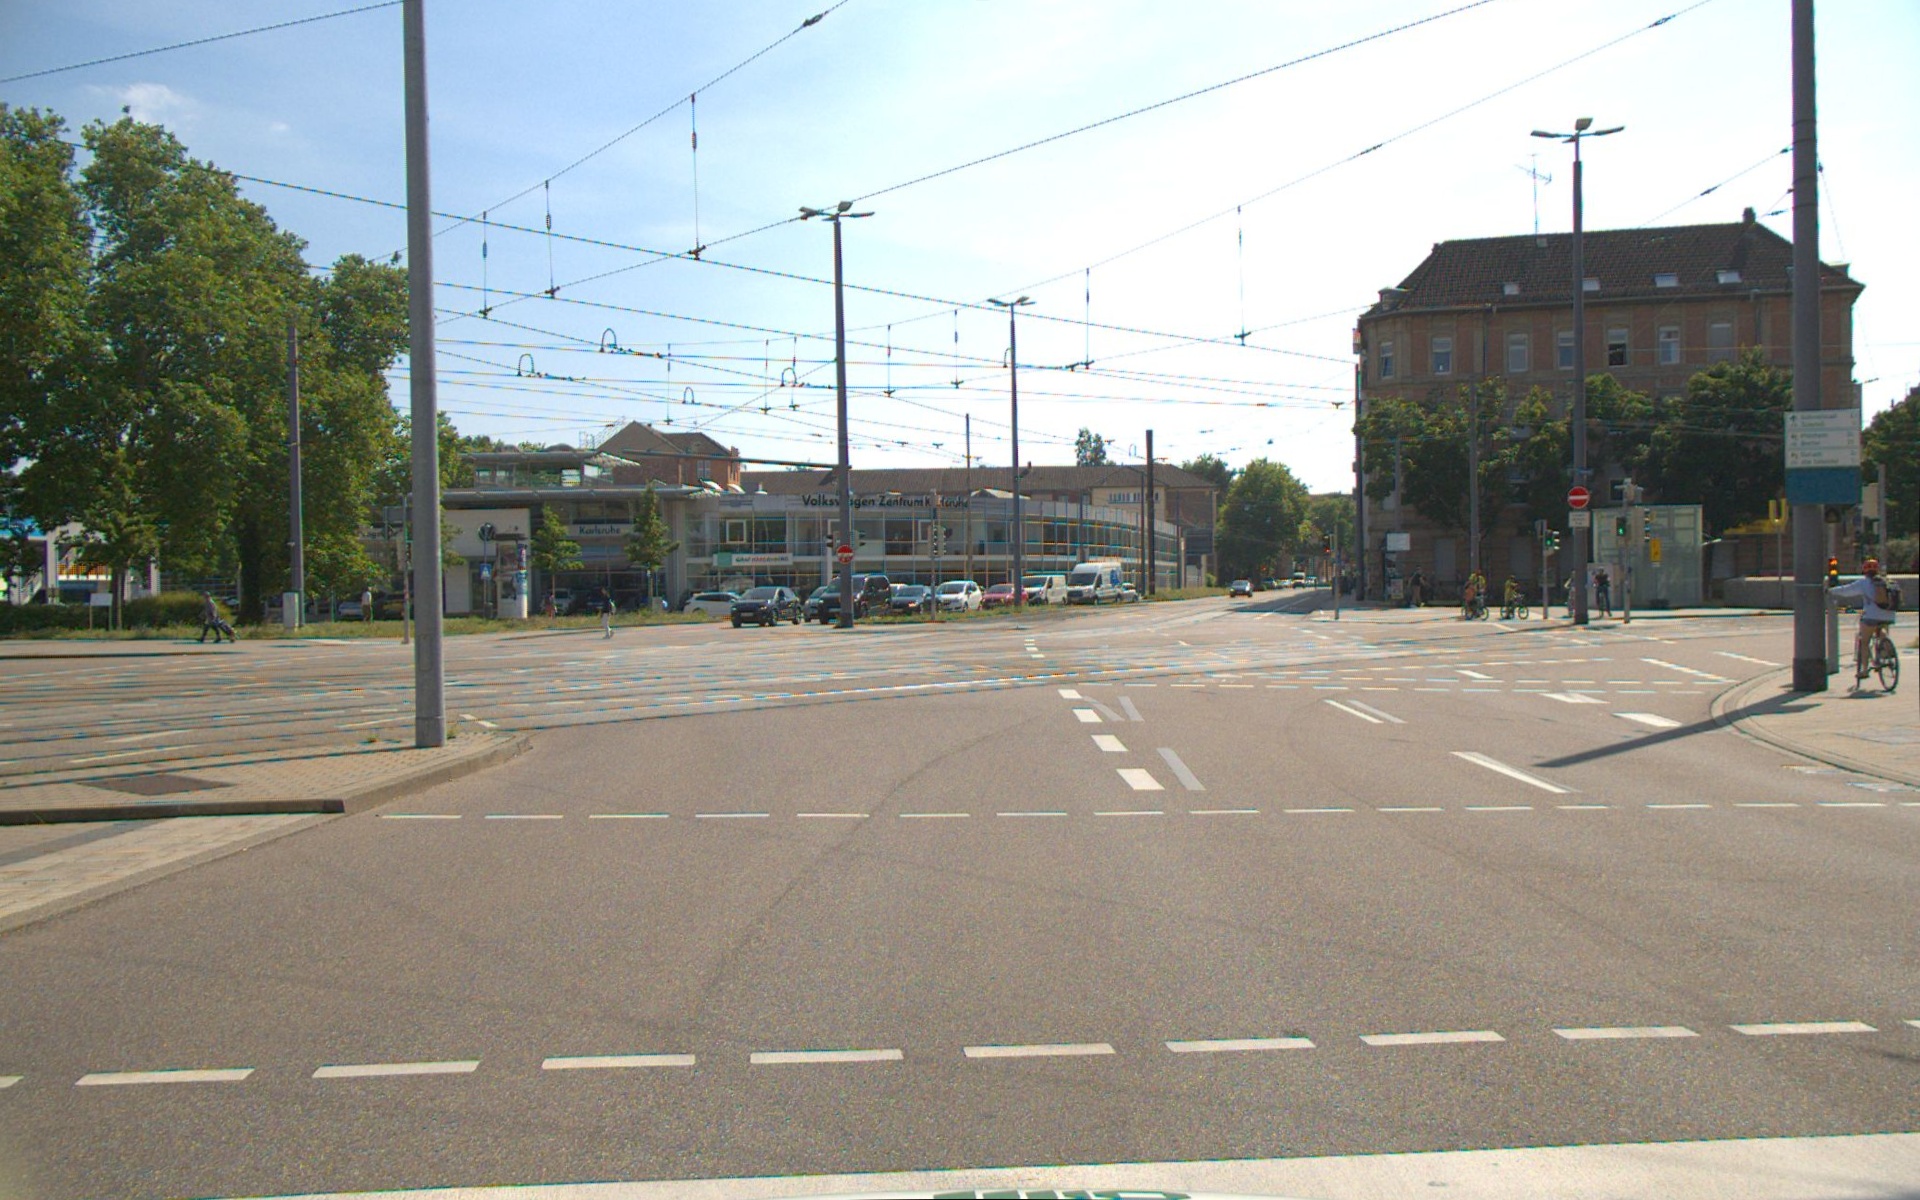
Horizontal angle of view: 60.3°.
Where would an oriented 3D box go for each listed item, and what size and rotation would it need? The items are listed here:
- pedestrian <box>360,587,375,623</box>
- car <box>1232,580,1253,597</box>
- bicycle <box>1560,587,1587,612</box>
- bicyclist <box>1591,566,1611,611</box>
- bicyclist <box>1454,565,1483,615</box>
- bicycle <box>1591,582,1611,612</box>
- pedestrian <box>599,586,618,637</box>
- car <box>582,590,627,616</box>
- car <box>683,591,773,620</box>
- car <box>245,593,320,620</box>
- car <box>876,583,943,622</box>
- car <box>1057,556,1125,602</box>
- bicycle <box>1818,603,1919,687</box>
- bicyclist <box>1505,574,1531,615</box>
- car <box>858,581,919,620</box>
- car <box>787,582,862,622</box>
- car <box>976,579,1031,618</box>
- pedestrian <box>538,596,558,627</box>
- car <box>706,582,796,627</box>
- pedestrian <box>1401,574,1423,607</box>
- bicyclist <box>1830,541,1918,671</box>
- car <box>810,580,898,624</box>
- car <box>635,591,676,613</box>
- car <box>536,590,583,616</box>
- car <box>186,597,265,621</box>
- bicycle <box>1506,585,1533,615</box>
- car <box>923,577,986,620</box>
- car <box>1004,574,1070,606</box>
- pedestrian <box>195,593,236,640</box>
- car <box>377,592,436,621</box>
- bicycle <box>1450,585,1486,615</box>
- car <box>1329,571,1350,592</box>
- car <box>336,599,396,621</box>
[{"bbox_3d":[-26.523,0.236,74.070,0.384,1.624,0.464,1,-1,23],"label":"pedestrian"},{"bbox_3d":[24.244,-0.978,141.843,1.355,1.439,3.013,1,0,18],"label":"car"},{"bbox_3d":[22.815,-0.022,61.528,0.489,0.881,1.588,1,1,4],"label":"bicycle"},{"bbox_3d":[23.915,-0.426,61.709,0.653,1.652,0.782,1,1,22],"label":"bicyclist"},{"bbox_3d":[18.970,-0.368,61.708,0.906,1.852,1.053,1,-1,9],"label":"bicyclist"},{"bbox_3d":[23.931,-0.137,61.753,0.653,1.088,2.463,1,1,22],"label":"bicycle"},{"bbox_3d":[-11.389,0.360,53.558,0.449,1.633,0.395,1,-1,-37],"label":"pedestrian"},{"bbox_3d":[-21.457,0.185,100.027,1.953,1.512,3.998,1,0,-2],"label":"car"},{"bbox_3d":[-12.236,0.290,87.268,4.486,1.461,1.445,1,0,12],"label":"car"},{"bbox_3d":[-42.644,0.411,104.165,3.907,1.579,1.999,-1,0,-3],"label":"car"},{"bbox_3d":[-2.140,0.120,71.104,1.854,1.615,4.003,-1,-1,13],"label":"car"},{"bbox_3d":[7.939,-1.243,99.690,2.165,2.620,5.870,1,0,25],"label":"car"},{"bbox_3d":[12.496,0.593,22.572,0.699,1.033,2.022,-3,0,7],"label":"bicycle"},{"bbox_3d":[20.767,-0.220,61.581,0.907,1.477,1.252,1,1,18],"label":"bicyclist"},{"bbox_3d":[-3.360,0.052,78.057,1.616,1.769,4.203,-1,-1,16],"label":"car"},{"bbox_3d":[-5.742,0.095,70.328,1.854,1.615,4.002,-1,-1,16],"label":"car"},{"bbox_3d":[2.267,-0.063,85.362,1.854,1.950,4.203,-1,-1,16],"label":"car"},{"bbox_3d":[-21.754,0.592,87.333,0.934,1.607,0.534,1,-1,-4],"label":"pedestrian"},{"bbox_3d":[-7.854,0.198,62.540,1.851,1.615,4.213,-1,-1,16],"label":"car"},{"bbox_3d":[20.143,-0.436,73.709,0.608,1.458,0.703,1,-1,-38],"label":"pedestrian"},{"bbox_3d":[12.461,0.075,22.565,0.699,1.698,0.875,-3,0,7],"label":"bicyclist"},{"bbox_3d":[-4.077,0.048,64.525,1.919,1.615,4.719,-1,0,16],"label":"car"},{"bbox_3d":[-18.328,0.116,99.686,1.793,1.216,3.998,1,0,-2],"label":"car"},{"bbox_3d":[-24.185,0.193,100.014,1.953,1.512,3.998,1,0,-2],"label":"car"},{"bbox_3d":[-44.862,0.529,101.087,3.906,1.395,1.999,1,0,-1],"label":"car"},{"bbox_3d":[20.744,-0.020,61.390,0.907,1.088,2.842,1,1,18],"label":"bicycle"},{"bbox_3d":[-0.228,-0.041,78.426,1.854,1.950,4.203,-1,-1,16],"label":"car"},{"bbox_3d":[4.357,-0.593,92.485,2.140,1.710,5.029,-1,0,22],"label":"car"},{"bbox_3d":[-23.009,0.502,51.119,1.098,1.428,0.652,1,-1,-23],"label":"pedestrian"},{"bbox_3d":[-33.672,0.403,100.706,1.951,1.713,4.002,1,0,4],"label":"car"},{"bbox_3d":[18.959,0.023,61.754,0.907,1.088,2.749,1,0,9],"label":"bicycle"},{"bbox_3d":[38.145,-1.869,166.138,2.063,2.049,4.004,-1,0,13],"label":"car"},{"bbox_3d":[-35.981,0.584,100.275,1.951,1.266,4.002,1,0,4],"label":"car"}]
